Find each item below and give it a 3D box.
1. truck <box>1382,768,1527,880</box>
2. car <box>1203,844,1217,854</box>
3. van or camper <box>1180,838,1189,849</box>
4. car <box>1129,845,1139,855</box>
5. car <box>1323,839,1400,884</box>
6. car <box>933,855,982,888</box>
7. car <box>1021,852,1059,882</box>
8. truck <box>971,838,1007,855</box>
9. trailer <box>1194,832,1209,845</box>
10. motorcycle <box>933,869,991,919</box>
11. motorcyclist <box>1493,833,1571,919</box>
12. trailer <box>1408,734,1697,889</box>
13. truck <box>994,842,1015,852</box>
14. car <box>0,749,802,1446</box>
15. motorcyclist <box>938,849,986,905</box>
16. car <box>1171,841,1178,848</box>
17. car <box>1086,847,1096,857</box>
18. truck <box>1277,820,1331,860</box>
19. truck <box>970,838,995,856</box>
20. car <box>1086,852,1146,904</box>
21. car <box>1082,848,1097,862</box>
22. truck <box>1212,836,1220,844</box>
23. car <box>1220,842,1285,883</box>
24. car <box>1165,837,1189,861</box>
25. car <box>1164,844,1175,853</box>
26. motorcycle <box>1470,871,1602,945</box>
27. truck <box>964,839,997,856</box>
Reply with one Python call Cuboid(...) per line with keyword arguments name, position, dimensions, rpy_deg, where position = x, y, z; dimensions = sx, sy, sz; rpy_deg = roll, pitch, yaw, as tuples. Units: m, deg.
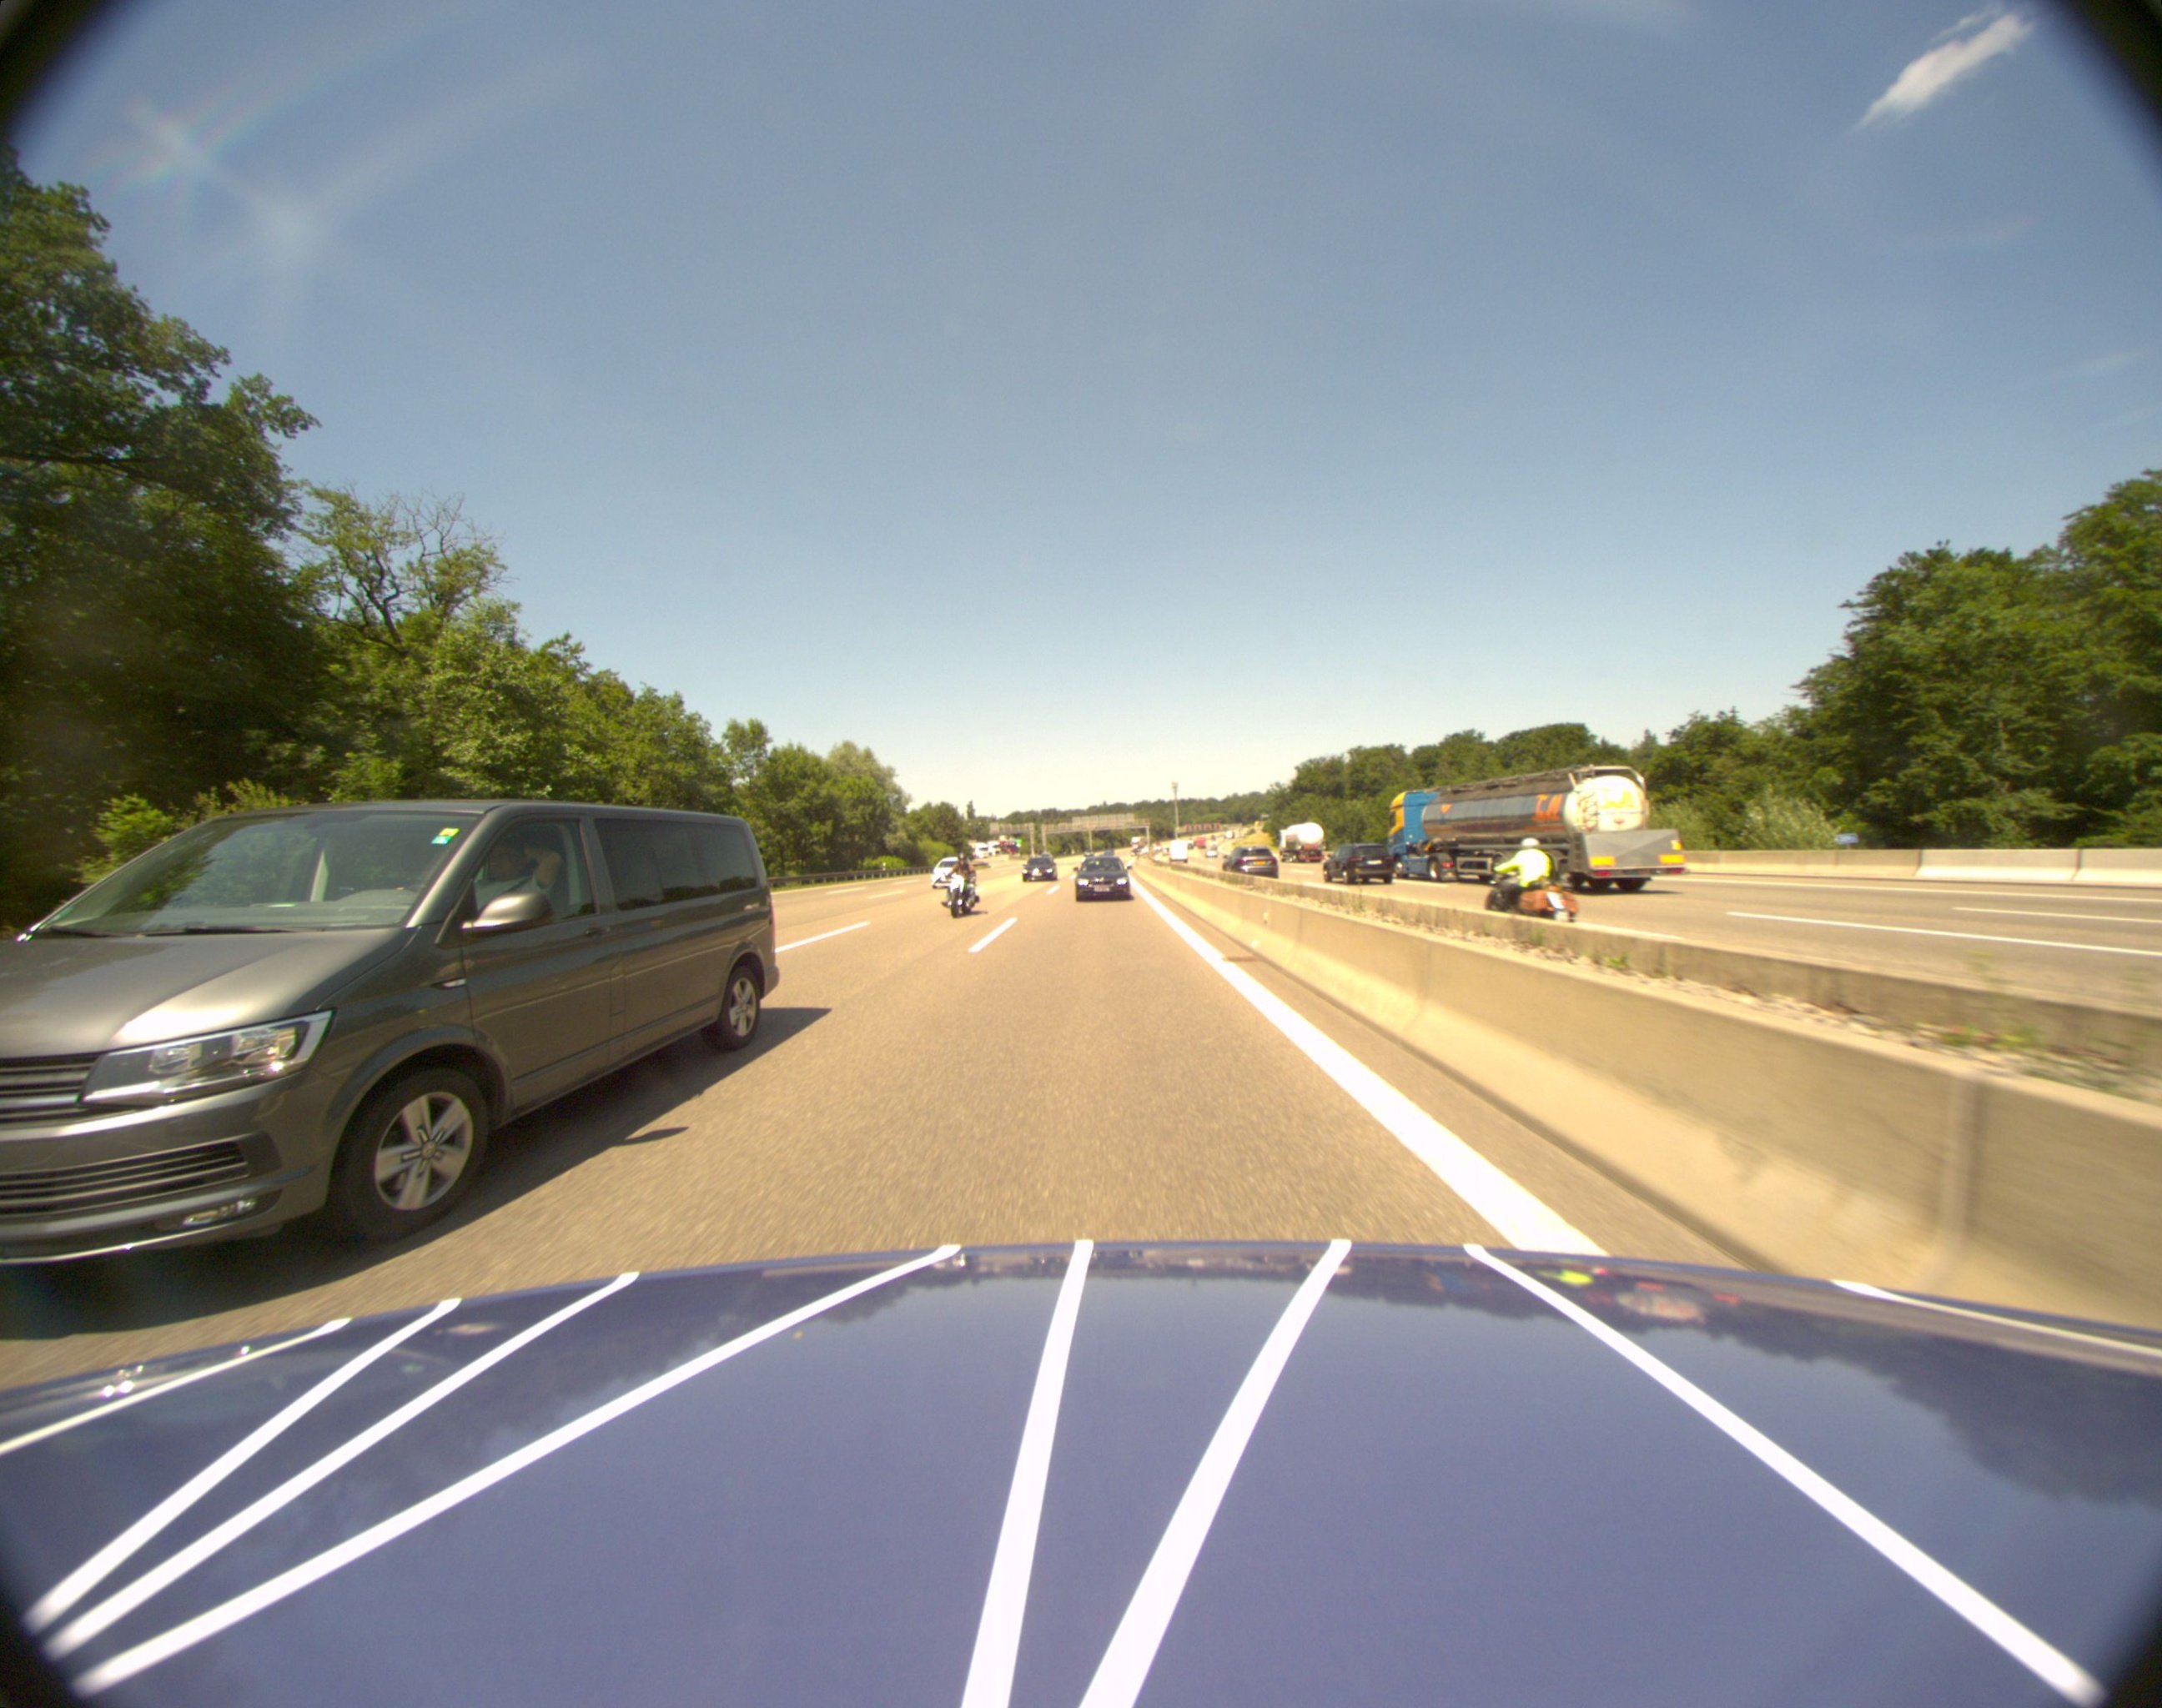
Cuboid(name="truck", position=(14.668, -1.097, 30.523), dimensions=(2.537, 3.917, 6.801), rpy_deg=(-2, 1, 1))
Cuboid(name="car", position=(21.273, -0.788, 125.030), dimensions=(1.767, 1.474, 4.494), rpy_deg=(-3, 1, 4))
Cuboid(name="van or camper", position=(25.498, -2.567, 187.124), dimensions=(1.997, 2.783, 7.417), rpy_deg=(-2, 0, 6))
Cuboid(name="car", position=(11.565, -0.817, 166.344), dimensions=(1.998, 2.002, 4.001), rpy_deg=(-3, 1, 4))
Cuboid(name="car", position=(11.113, 0.280, 30.398), dimensions=(1.724, 1.634, 4.060), rpy_deg=(-2, 0, 2))
Cuboid(name="car", position=(-6.317, 0.861, 39.345), dimensions=(1.754, 1.510, 4.483), rpy_deg=(-2, 0, 0))
Cuboid(name="car", position=(-2.319, 0.716, 44.321), dimensions=(1.760, 1.431, 3.999), rpy_deg=(-2, 2, 3))
Cuboid(name="truck", position=(-27.062, -2.153, 222.400), dimensions=(2.836, 4.434, 14.604), rpy_deg=(-3, 1, -38))
Cuboid(name="trailer", position=(39.735, -5.139, 250.405), dimensions=(3.844, 4.256, 14.479), rpy_deg=(-3, 1, 6))
Cuboid(name="motorcycle", position=(-3.096, 1.011, 20.084), dimensions=(0.536, 1.129, 2.439), rpy_deg=(-1, 1, 15))
Cuboid(name="motorcyclist", position=(7.473, 0.355, 12.623), dimensions=(0.729, 1.352, 0.905), rpy_deg=(-2, 0, 2))
Cuboid(name="trailer", position=(14.488, -1.121, 25.152), dimensions=(2.544, 3.858, 11.695), rpy_deg=(-2, 0, 2))
Cuboid(name="truck", position=(-23.570, -2.120, 233.494), dimensions=(2.003, 2.933, 8.724), rpy_deg=(-5, 3, -38))
Cuboid(name="car", position=(-3.728, 0.726, 4.752), dimensions=(1.968, 2.022, 5.083), rpy_deg=(-2, 0, 1))
Cuboid(name="motorcyclist", position=(-3.117, 0.599, 19.997), dimensions=(0.854, 1.419, 1.024), rpy_deg=(-1, 2, 15))
Cuboid(name="car", position=(28.667, -2.895, 233.503), dimensions=(1.910, 1.971, 4.641), rpy_deg=(-3, 1, 5))
Cuboid(name="car", position=(2.319, -0.404, 174.910), dimensions=(1.998, 2.003, 3.998), rpy_deg=(-3, 3, 2))
Cuboid(name="truck", position=(21.241, -1.347, 73.087), dimensions=(2.616, 3.446, 9.882), rpy_deg=(-3, 1, 3))
Cuboid(name="truck", position=(-26.062, -1.843, 200.733), dimensions=(3.272, 4.698, 7.169), rpy_deg=(-5, 3, -38))
Cuboid(name="car", position=(1.208, 0.744, 25.280), dimensions=(1.769, 1.496, 4.001), rpy_deg=(-3, 0, 4))
Cuboid(name="car", position=(1.141, 0.103, 97.941), dimensions=(1.729, 1.522, 3.740), rpy_deg=(4, 3, 2))
Cuboid(name="truck", position=(40.221, -4.173, 226.699), dimensions=(2.051, 2.241, 8.826), rpy_deg=(-3, 1, 8))
Cuboid(name="car", position=(7.677, 0.345, 34.506), dimensions=(1.998, 1.695, 4.953), rpy_deg=(-2, 0, 3))
Cuboid(name="car", position=(11.366, -0.543, 90.414), dimensions=(2.102, 2.673, 6.309), rpy_deg=(-3, 0, 1))
Cuboid(name="car", position=(18.724, -1.158, 160.717), dimensions=(1.823, 1.860, 4.589), rpy_deg=(-2, 1, 3))
Cuboid(name="motorcycle", position=(7.499, 0.839, 12.703), dimensions=(0.729, 1.008, 2.527), rpy_deg=(-2, 0, 2))
Cuboid(name="truck", position=(-28.600, -1.824, 215.557), dimensions=(2.836, 4.436, 12.028), rpy_deg=(-6, 4, -40))
